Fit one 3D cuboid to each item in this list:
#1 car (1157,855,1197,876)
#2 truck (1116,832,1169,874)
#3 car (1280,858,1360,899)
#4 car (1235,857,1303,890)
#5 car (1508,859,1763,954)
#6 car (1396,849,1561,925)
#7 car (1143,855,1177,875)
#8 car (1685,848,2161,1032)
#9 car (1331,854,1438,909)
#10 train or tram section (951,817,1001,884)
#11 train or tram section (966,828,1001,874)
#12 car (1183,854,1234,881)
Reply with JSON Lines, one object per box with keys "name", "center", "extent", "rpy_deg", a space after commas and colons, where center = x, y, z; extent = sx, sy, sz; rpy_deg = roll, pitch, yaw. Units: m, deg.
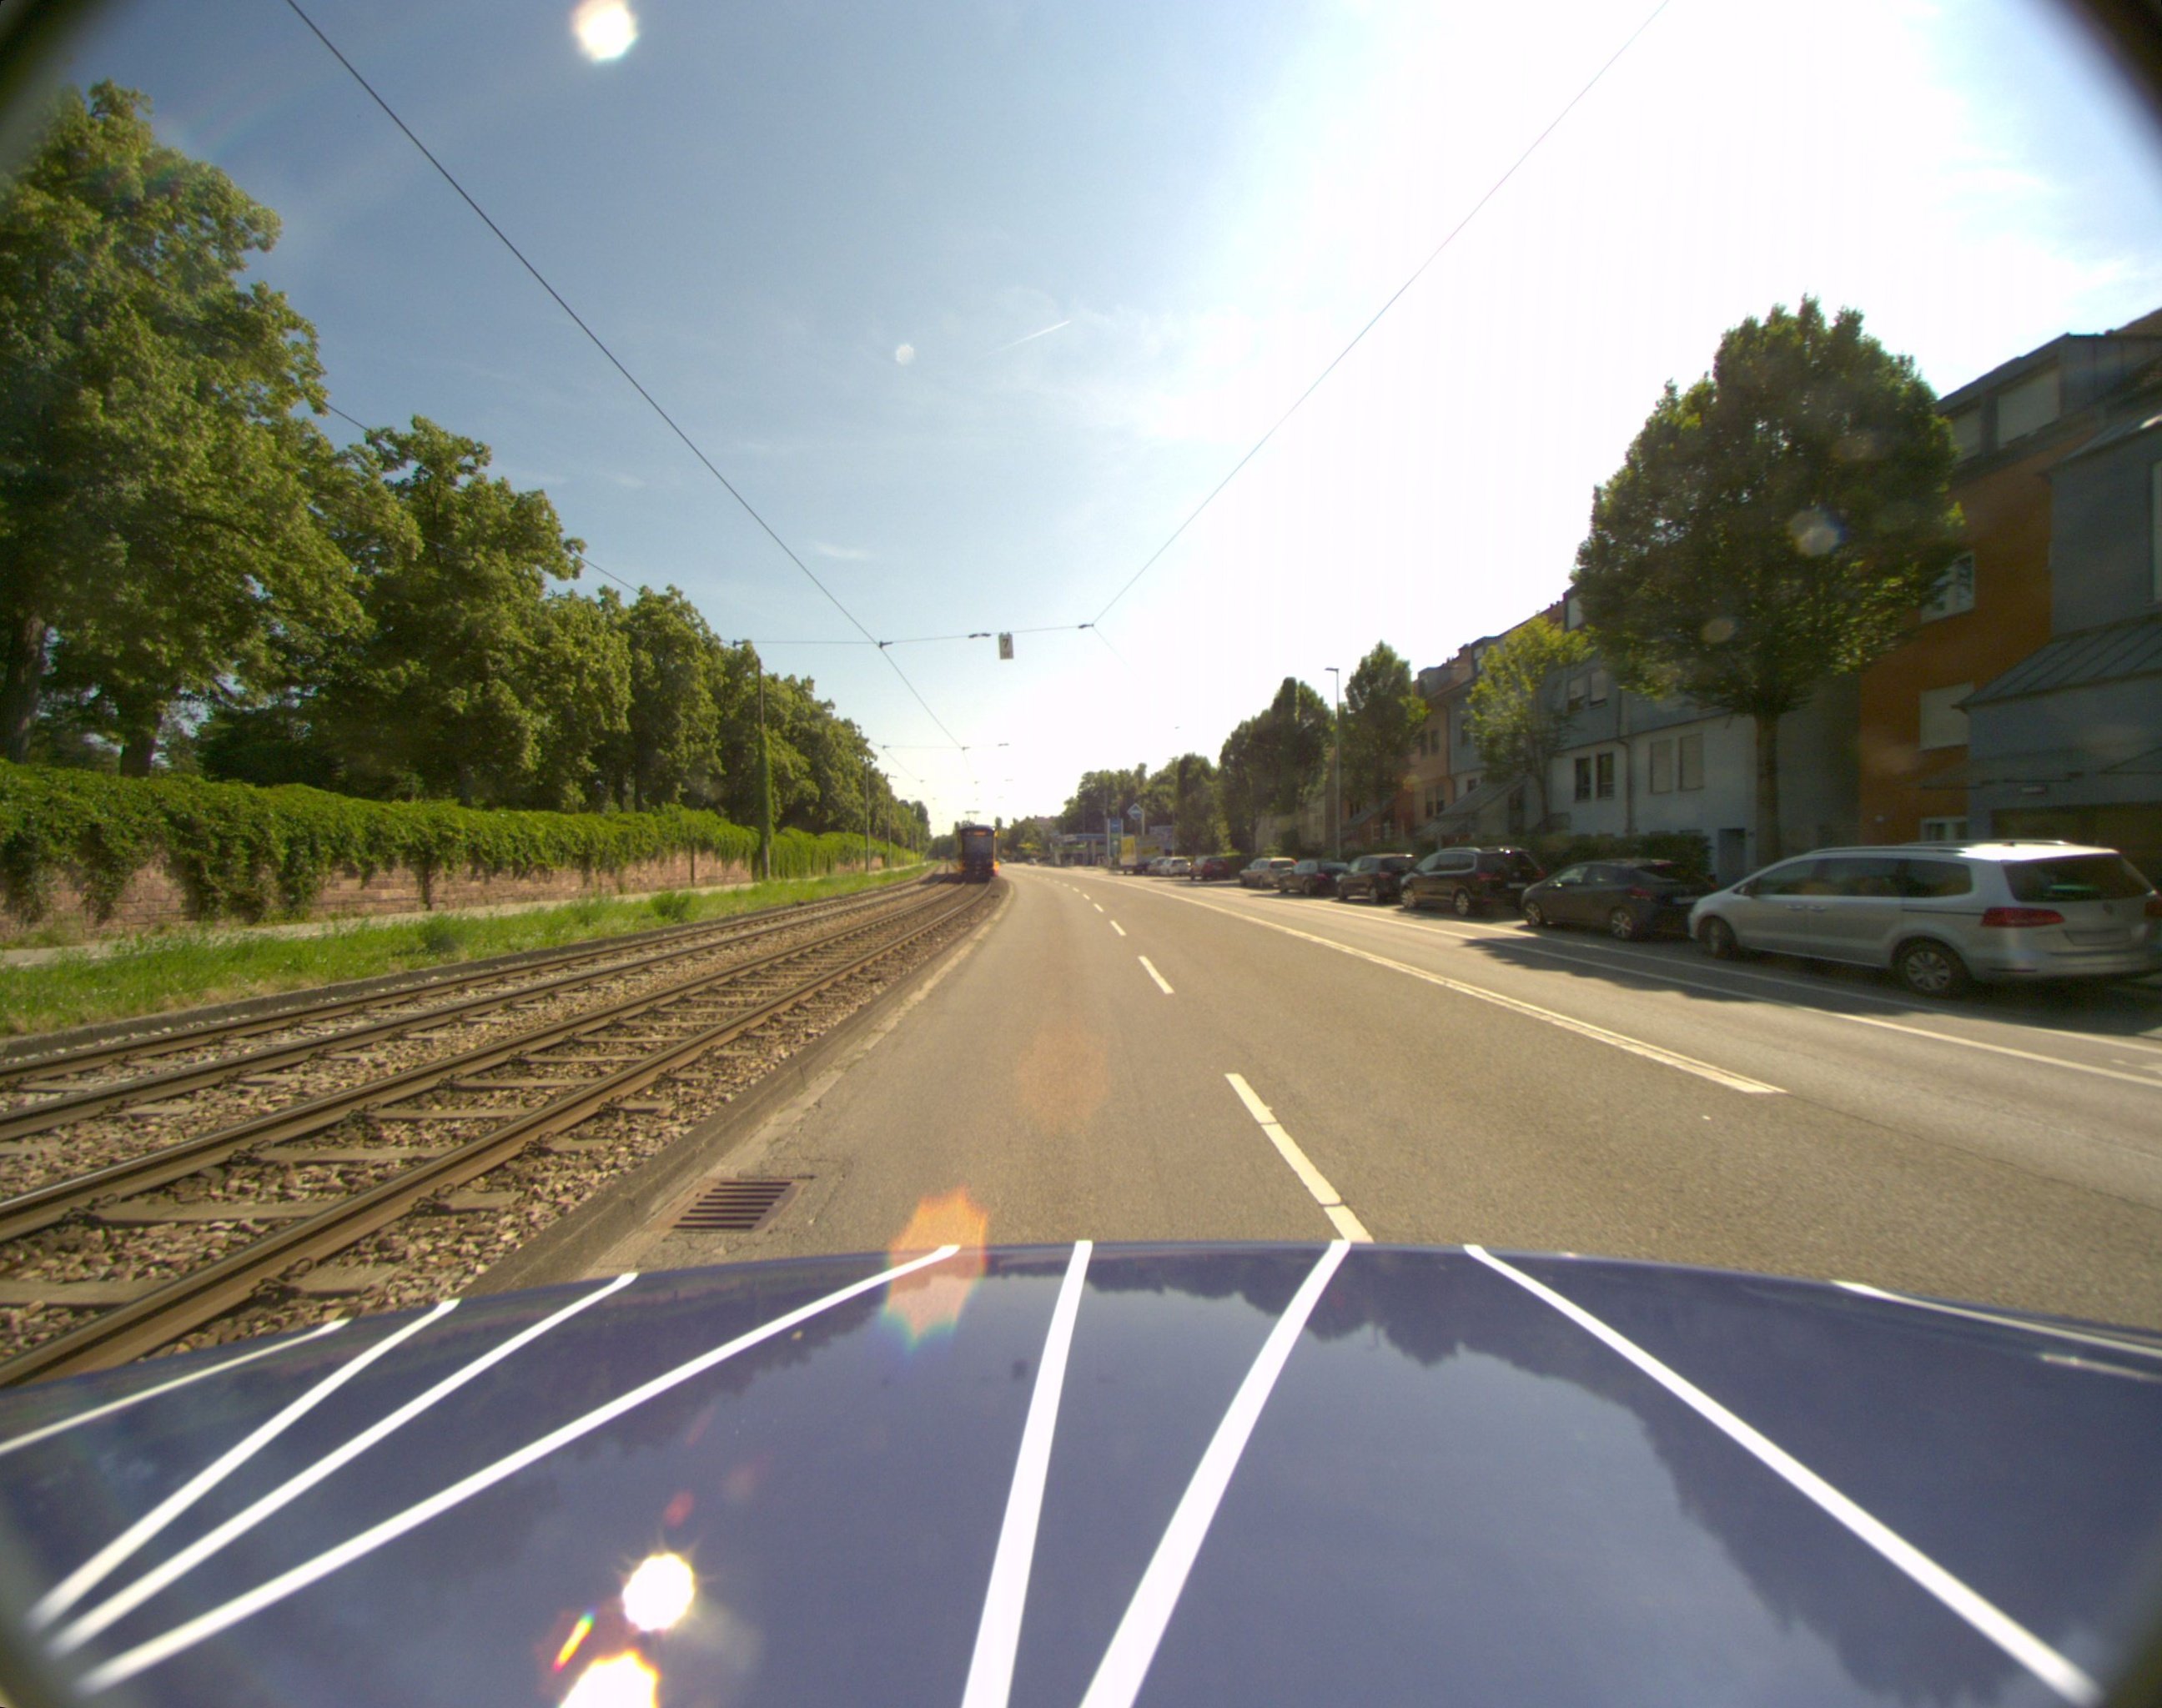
{"name": "car", "center": [7.130, 0.829, 56.886], "extent": [2.040, 1.490, 4.130], "rpy_deg": [-2, 1, -6]}
{"name": "truck", "center": [5.494, -0.116, 69.254], "extent": [3.165, 3.533, 8.779], "rpy_deg": [0, 0, -7]}
{"name": "car", "center": [9.669, 0.934, 31.052], "extent": [1.681, 1.462, 4.212], "rpy_deg": [-2, 1, -4]}
{"name": "car", "center": [9.269, 0.925, 37.869], "extent": [1.682, 1.437, 4.835], "rpy_deg": [-2, 1, -6]}
{"name": "car", "center": [10.665, 0.910, 15.073], "extent": [1.871, 1.447, 4.074], "rpy_deg": [-4, 1, -4]}
{"name": "car", "center": [10.309, 0.774, 20.130], "extent": [1.834, 1.718, 4.348], "rpy_deg": [-3, 1, -4]}
{"name": "car", "center": [6.387, 0.892, 61.904], "extent": [1.915, 1.469, 4.213], "rpy_deg": [-2, 1, -6]}
{"name": "car", "center": [10.529, 0.832, 9.779], "extent": [1.853, 1.693, 4.540], "rpy_deg": [-4, 1, 1]}
{"name": "car", "center": [10.005, 0.837, 25.404], "extent": [1.681, 1.598, 4.164], "rpy_deg": [-2, 1, -4]}
{"name": "train or tram section", "center": [-7.011, -0.211, 52.732], "extent": [2.722, 3.716, 18.867], "rpy_deg": [-1, 0, -6]}
{"name": "train or tram section", "center": [-9.021, -0.275, 71.503], "extent": [2.722, 3.716, 18.867], "rpy_deg": [-1, 0, -6]}
{"name": "car", "center": [8.168, 0.816, 49.165], "extent": [1.911, 1.567, 4.928], "rpy_deg": [-2, 1, -6]}
